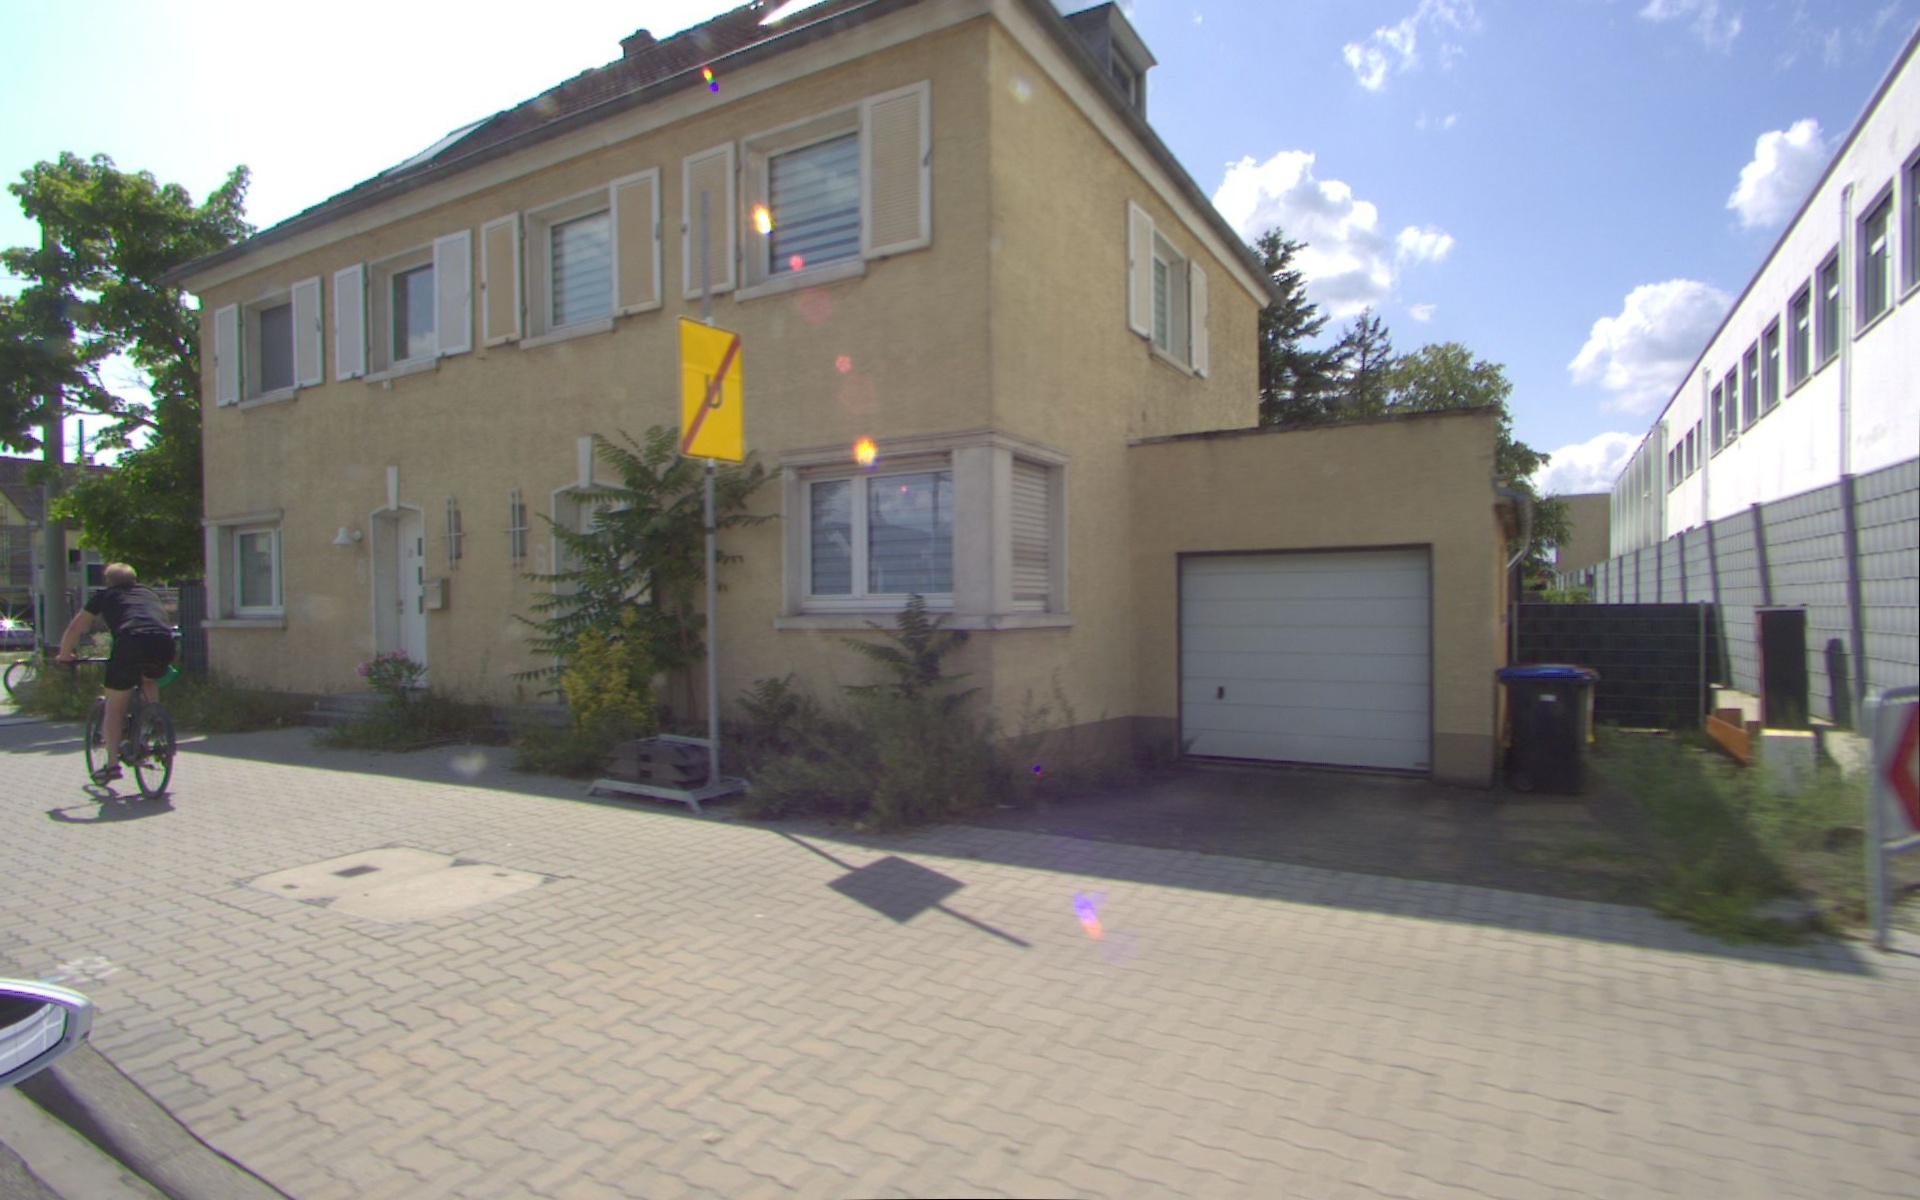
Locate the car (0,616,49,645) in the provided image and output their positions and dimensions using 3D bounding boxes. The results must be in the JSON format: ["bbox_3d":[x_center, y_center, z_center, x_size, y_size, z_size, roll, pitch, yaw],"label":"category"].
[{"bbox_3d":[-46.501,1.505,49.017,4.073,1.368,1.864,-2,-2,33],"label":"car"}]

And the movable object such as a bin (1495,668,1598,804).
[{"bbox_3d":[5.110,1.152,8.723,0.659,1.101,0.611,-1,-2,42],"label":"movable object such as a bin"}]

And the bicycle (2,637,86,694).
[{"bbox_3d":[-17.207,1.207,18.859,0.455,1.031,1.753,0,-2,-18],"label":"bicycle"}]

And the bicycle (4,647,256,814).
[{"bbox_3d":[-6.509,0.952,7.839,1.940,1.090,0.827,0,1,28],"label":"bicycle"}]

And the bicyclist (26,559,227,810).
[{"bbox_3d":[-6.509,0.609,7.836,1.067,1.818,0.827,0,2,28],"label":"bicyclist"}]
